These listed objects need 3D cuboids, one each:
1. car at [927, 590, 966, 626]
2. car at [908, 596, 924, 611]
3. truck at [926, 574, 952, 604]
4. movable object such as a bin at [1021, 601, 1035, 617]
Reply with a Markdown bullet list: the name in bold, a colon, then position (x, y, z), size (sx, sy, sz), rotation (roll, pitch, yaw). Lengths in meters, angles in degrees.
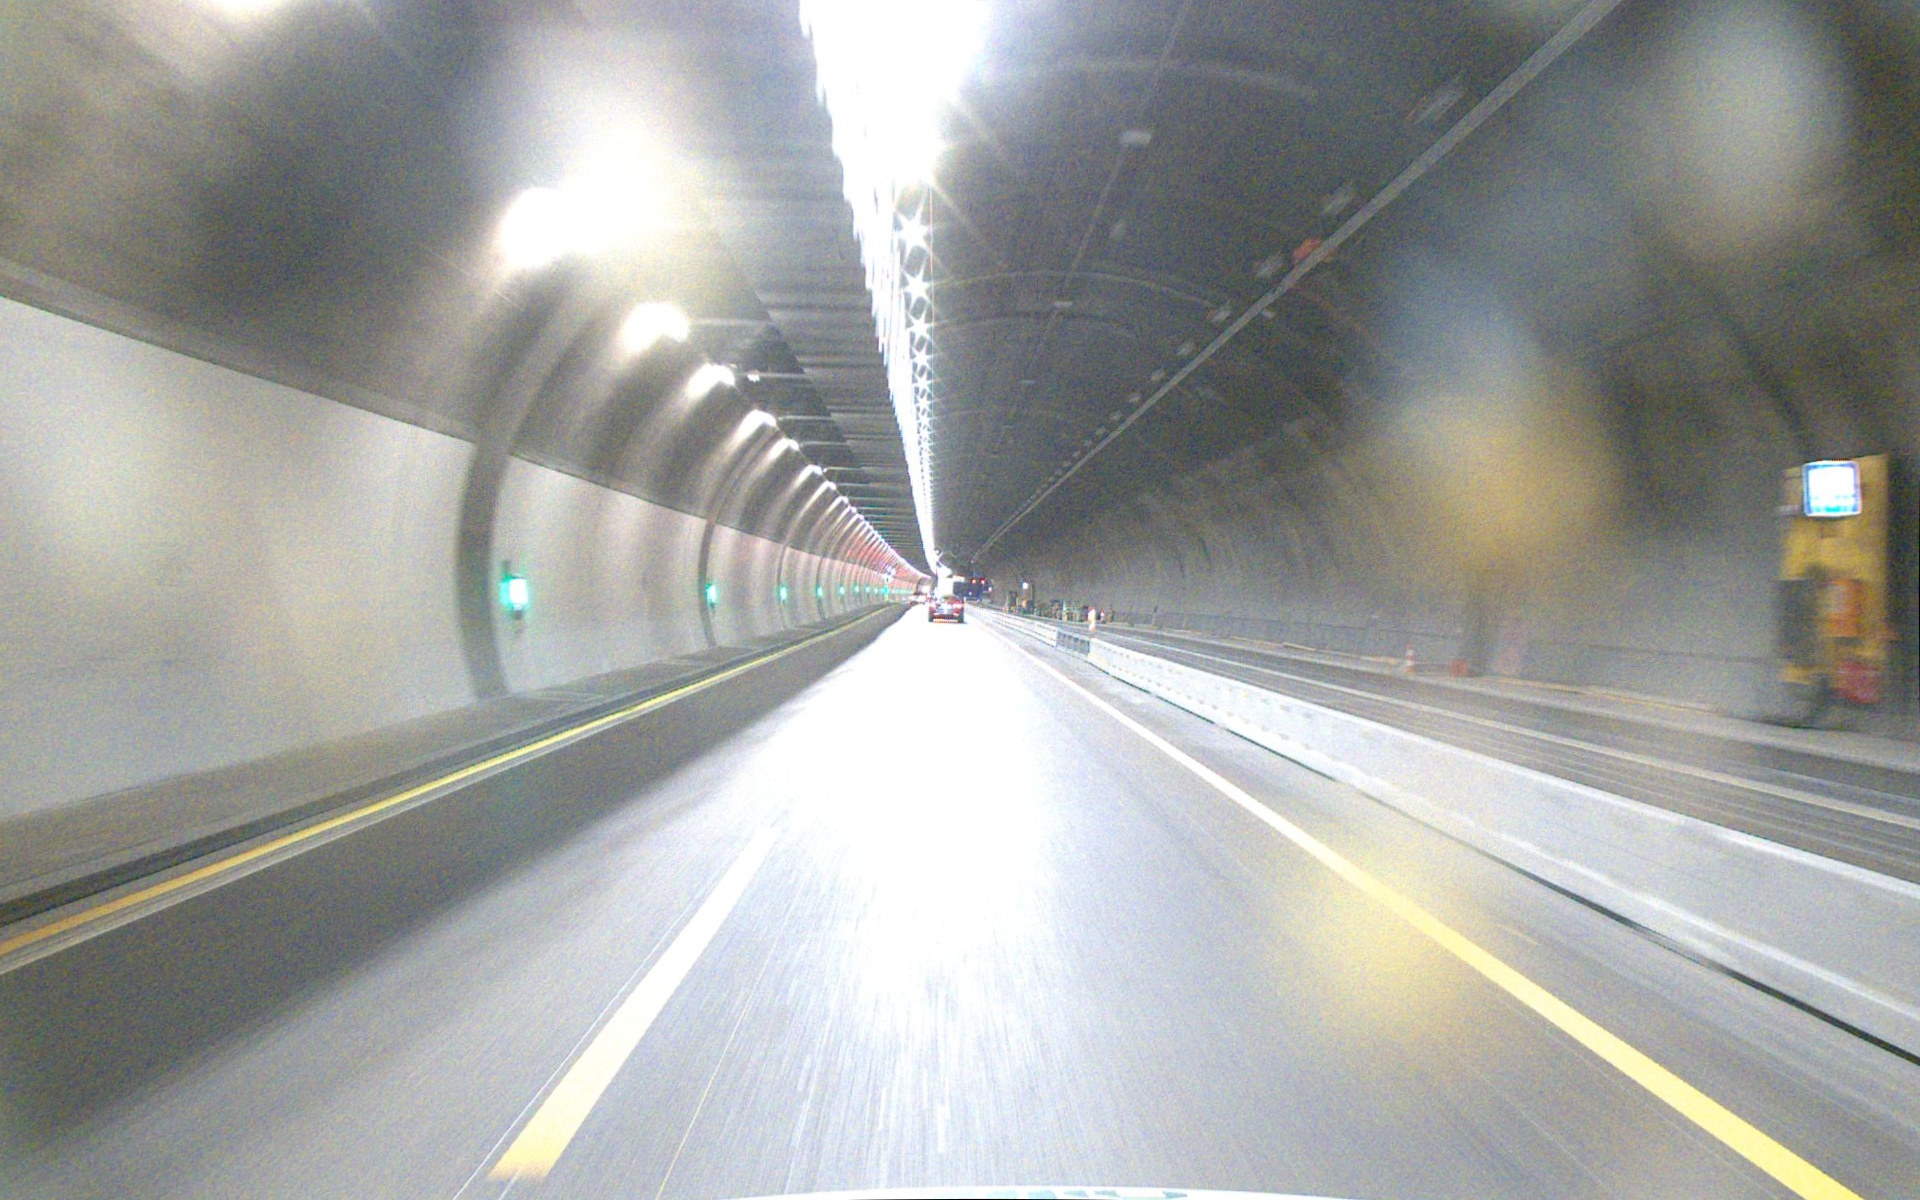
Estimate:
- **car**: position (-0.714, 0.392, 86.146), size (1.908, 1.826, 3.998), rotation (1, 0, -2)
- **car**: position (-5.220, 0.442, 196.608), size (1.891, 1.716, 3.999), rotation (1, 0, -2)
- **truck**: position (-3.314, -1.708, 261.839), size (3.983, 4.612, 14.962), rotation (1, 0, -1)
- **movable object such as a bin**: position (6.478, 0.889, 157.846), size (1.210, 1.467, 2.216), rotation (3, 0, -1)
